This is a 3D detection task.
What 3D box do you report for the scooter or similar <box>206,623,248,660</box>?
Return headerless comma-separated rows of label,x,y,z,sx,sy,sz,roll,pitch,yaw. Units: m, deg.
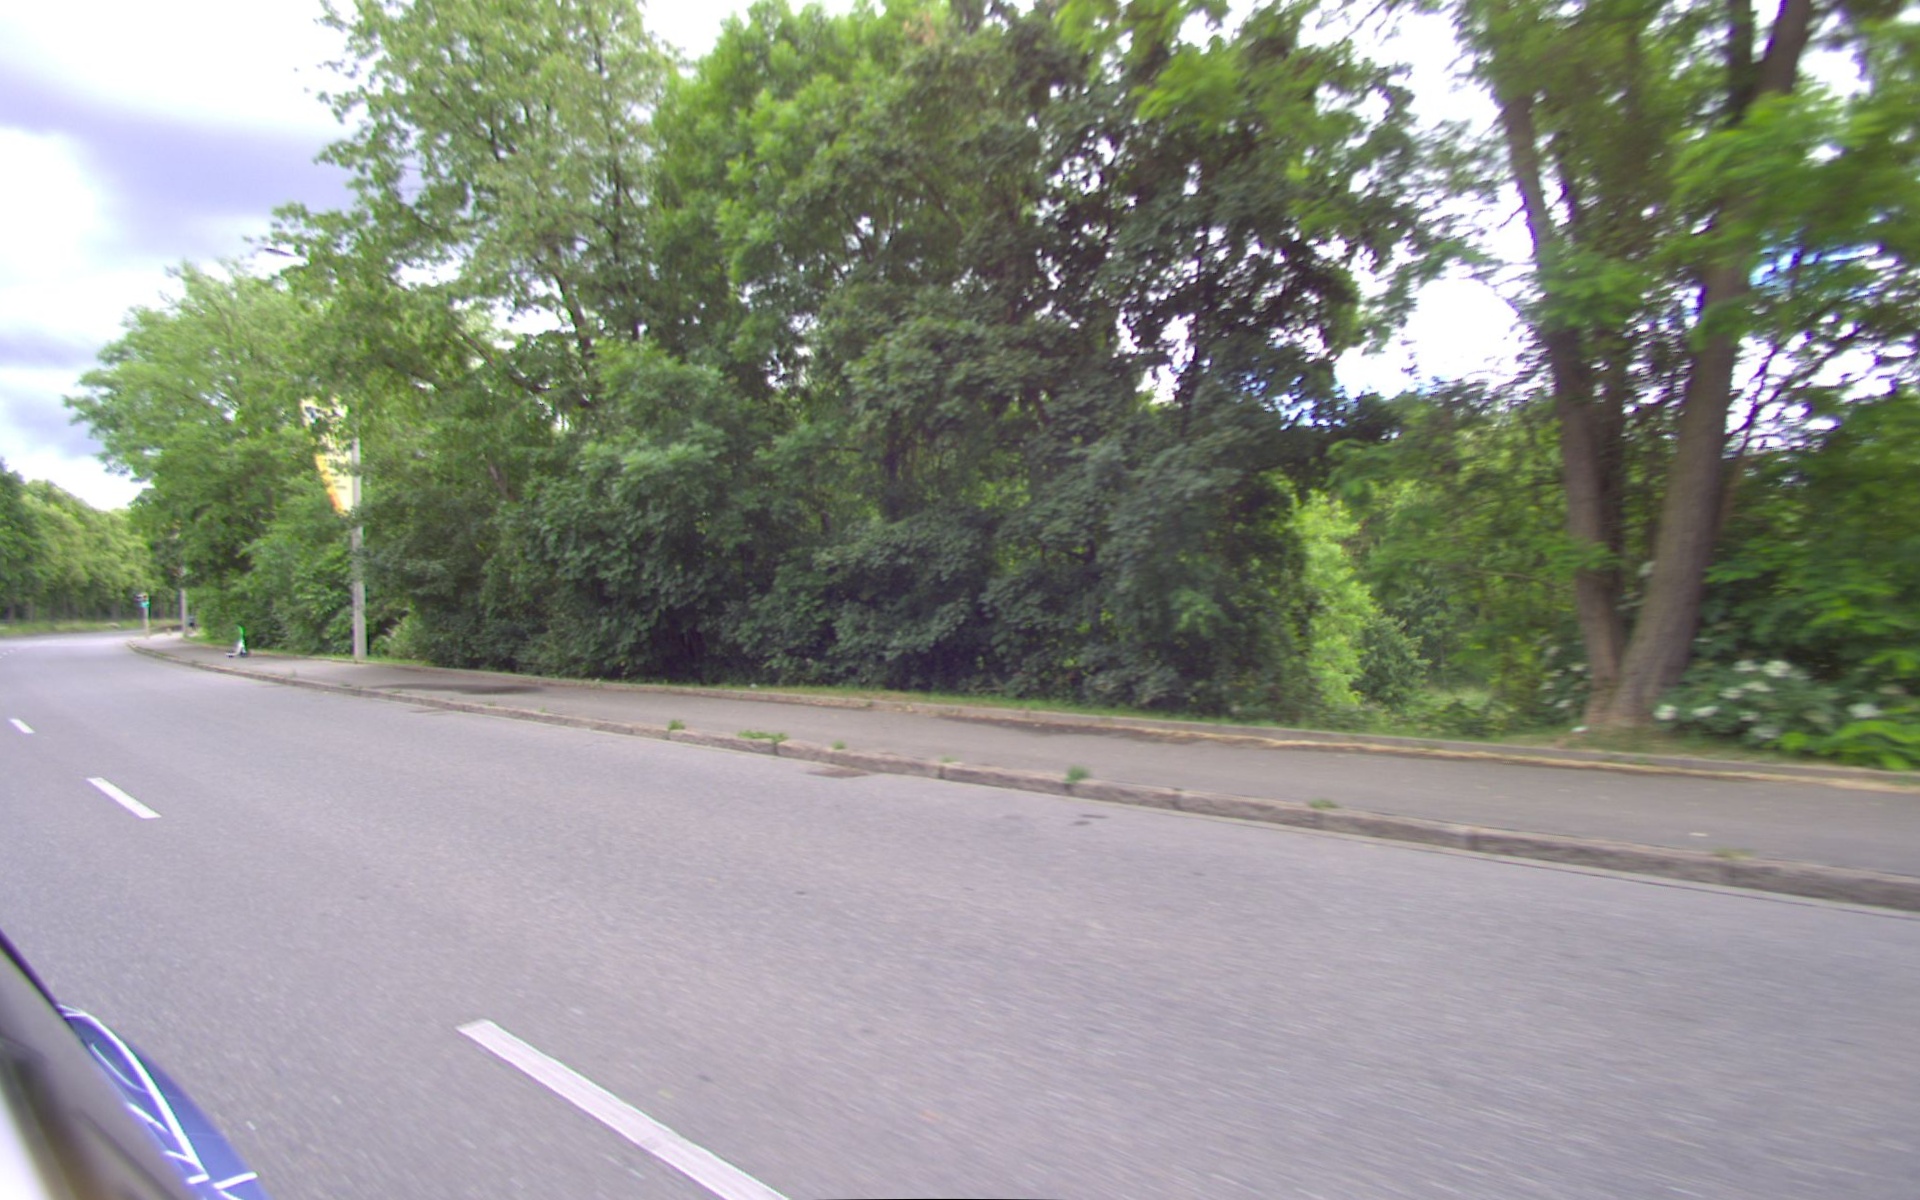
scooter or similar,-24.787,1.403,34.216,1.285,1.193,0.364,-2,1,14
